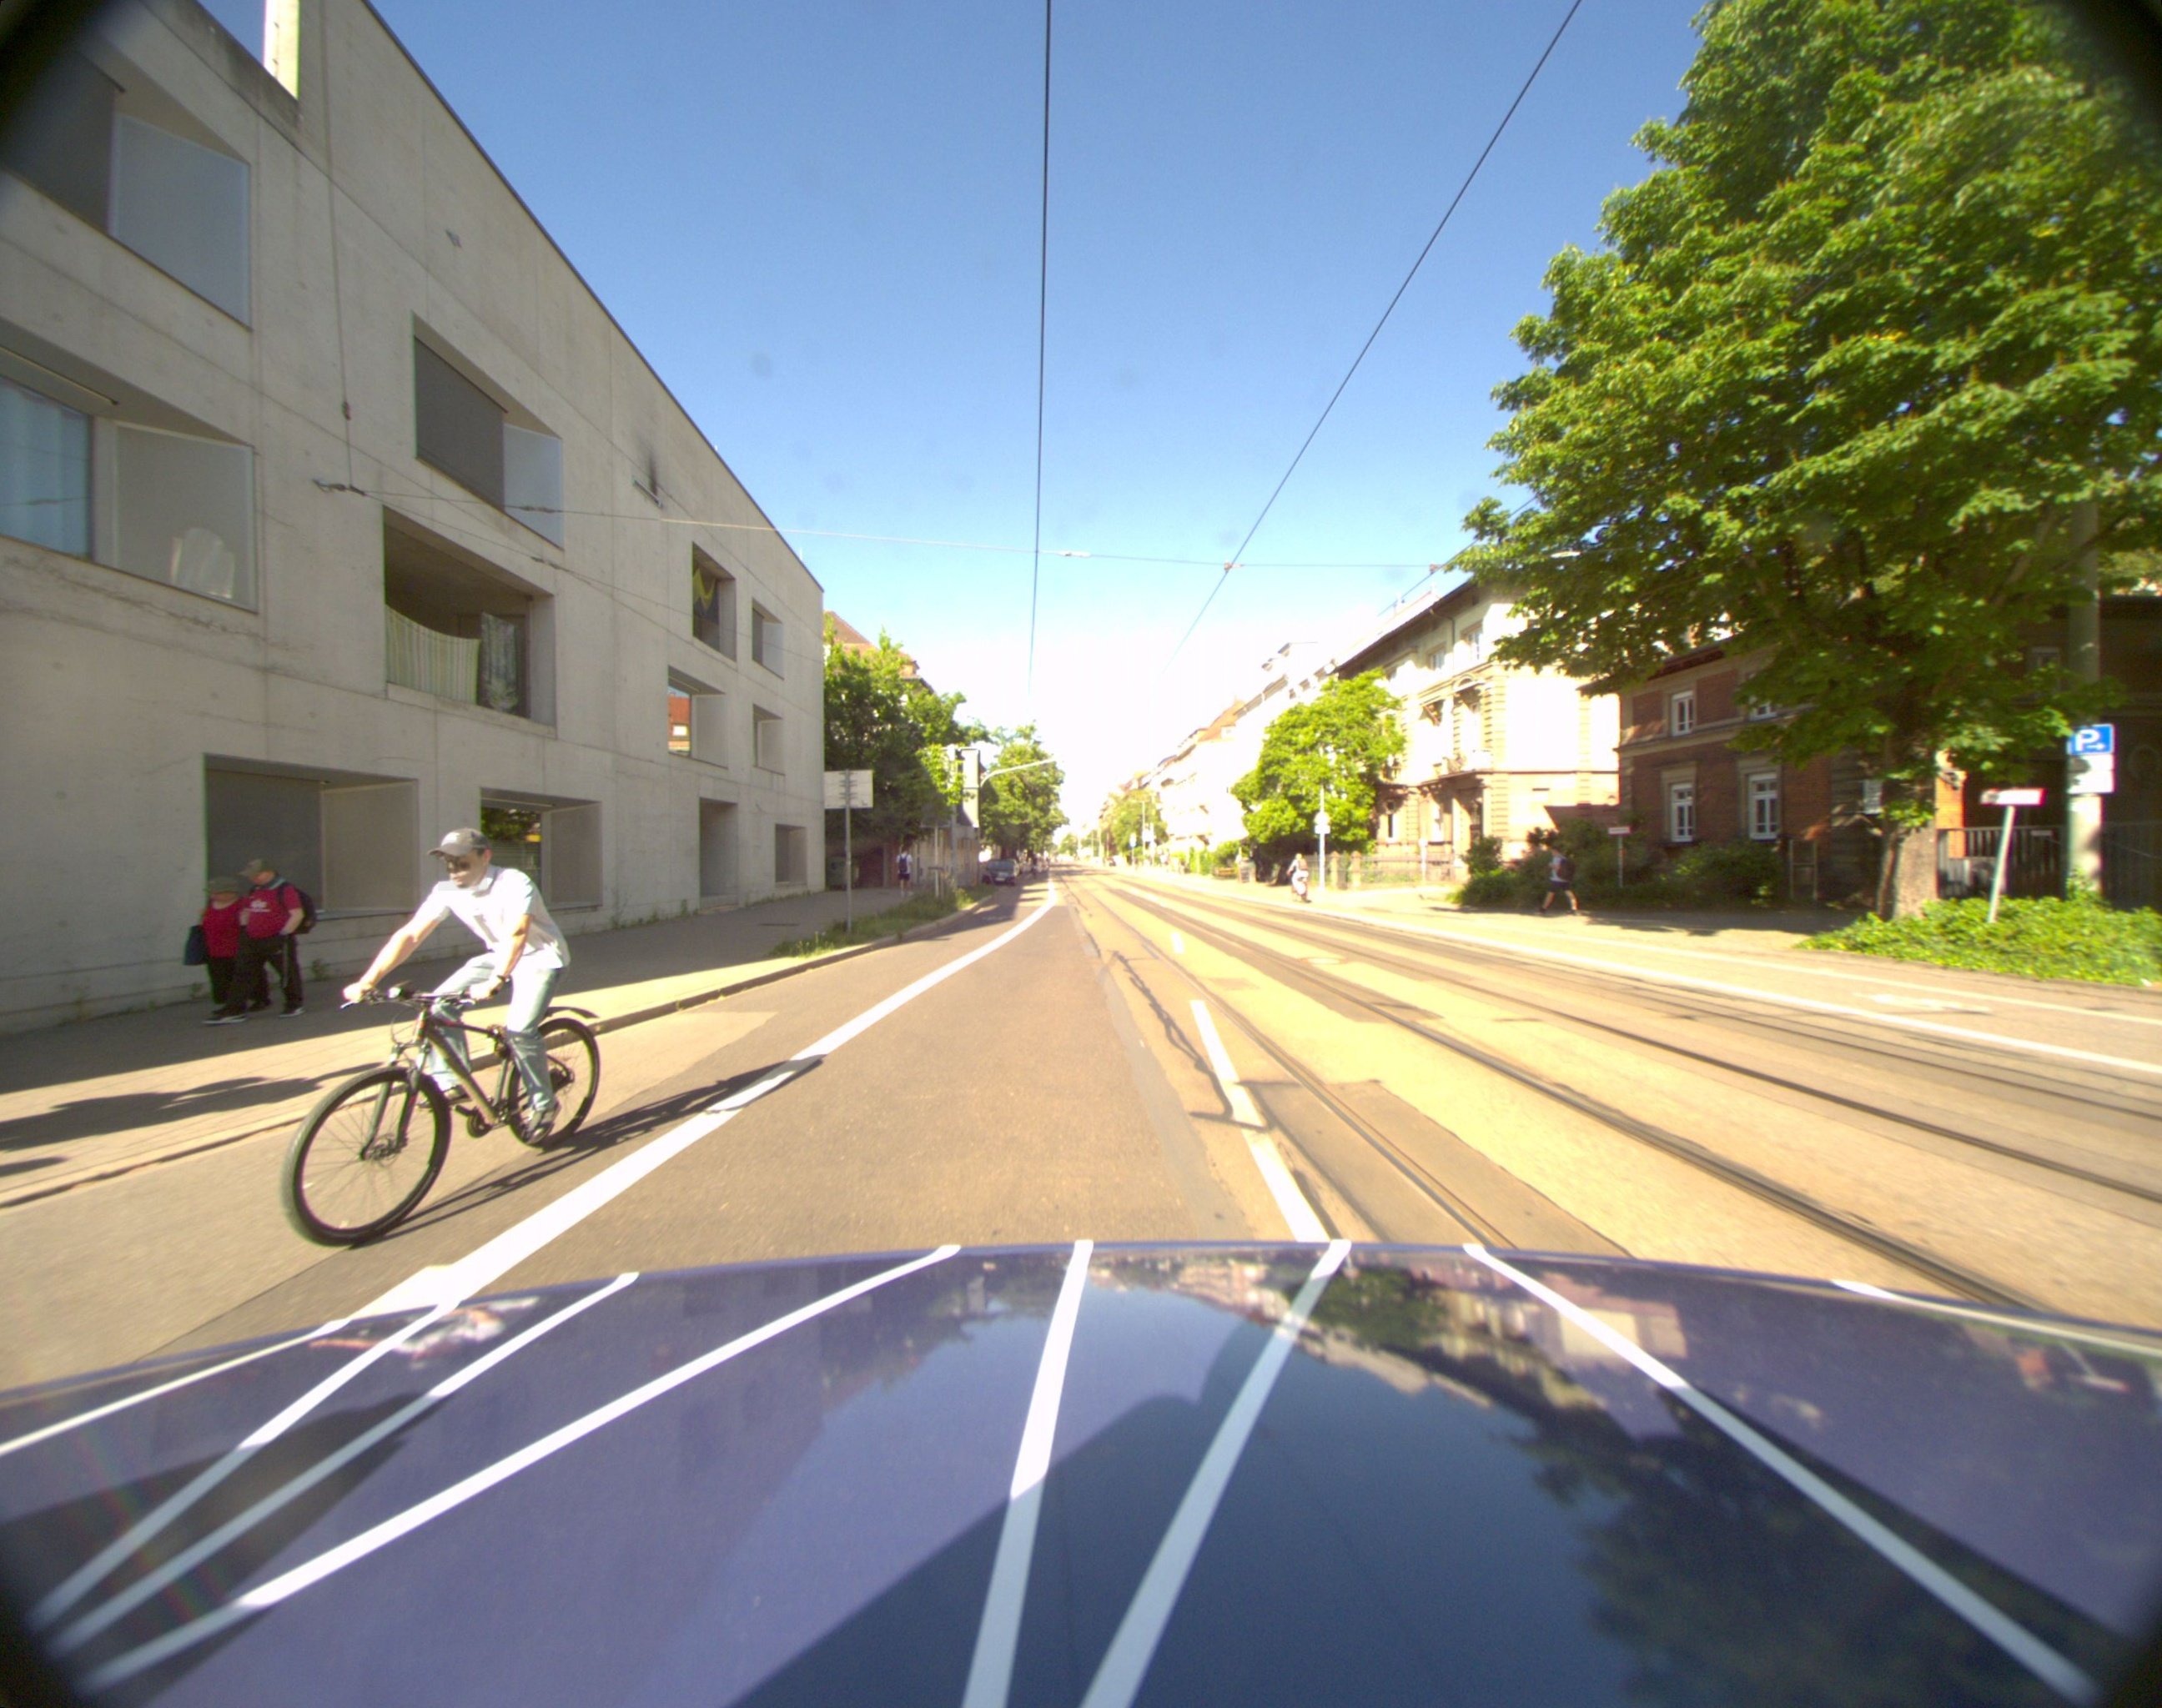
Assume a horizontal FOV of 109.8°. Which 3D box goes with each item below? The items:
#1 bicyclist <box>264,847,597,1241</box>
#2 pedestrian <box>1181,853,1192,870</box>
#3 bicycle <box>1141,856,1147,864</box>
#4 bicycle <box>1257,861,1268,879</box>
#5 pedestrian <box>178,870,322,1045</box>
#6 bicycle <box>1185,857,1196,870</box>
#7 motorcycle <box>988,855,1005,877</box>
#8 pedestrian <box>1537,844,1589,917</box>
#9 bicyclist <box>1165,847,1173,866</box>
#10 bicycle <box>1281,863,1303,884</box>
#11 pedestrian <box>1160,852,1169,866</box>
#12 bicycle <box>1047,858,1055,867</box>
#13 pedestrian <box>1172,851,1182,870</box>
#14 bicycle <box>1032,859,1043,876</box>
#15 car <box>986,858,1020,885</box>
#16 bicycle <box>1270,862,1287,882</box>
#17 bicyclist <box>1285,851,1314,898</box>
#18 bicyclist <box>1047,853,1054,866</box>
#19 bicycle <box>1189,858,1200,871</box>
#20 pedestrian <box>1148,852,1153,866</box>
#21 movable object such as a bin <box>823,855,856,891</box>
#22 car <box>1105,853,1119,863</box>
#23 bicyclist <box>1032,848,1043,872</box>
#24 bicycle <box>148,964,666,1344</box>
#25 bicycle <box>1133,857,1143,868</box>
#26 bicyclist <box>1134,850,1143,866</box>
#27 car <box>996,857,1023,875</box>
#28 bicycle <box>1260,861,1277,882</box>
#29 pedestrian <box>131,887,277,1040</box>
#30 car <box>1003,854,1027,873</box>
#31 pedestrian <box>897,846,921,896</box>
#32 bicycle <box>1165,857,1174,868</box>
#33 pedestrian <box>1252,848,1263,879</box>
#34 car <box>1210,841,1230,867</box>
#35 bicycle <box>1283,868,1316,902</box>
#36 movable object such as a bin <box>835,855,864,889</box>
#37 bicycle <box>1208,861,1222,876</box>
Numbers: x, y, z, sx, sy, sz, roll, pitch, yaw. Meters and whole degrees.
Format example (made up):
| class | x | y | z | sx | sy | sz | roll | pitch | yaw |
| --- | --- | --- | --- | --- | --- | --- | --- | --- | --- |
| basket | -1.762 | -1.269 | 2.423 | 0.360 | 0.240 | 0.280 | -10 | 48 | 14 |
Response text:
| class | x | y | z | sx | sy | sz | roll | pitch | yaw |
| --- | --- | --- | --- | --- | --- | --- | --- | --- | --- |
| bicyclist | -3.104 | 0.817 | 3.755 | 0.740 | 1.676 | 0.971 | -2 | 1 | 0 |
| pedestrian | 9.394 | 0.666 | 67.403 | 0.756 | 1.469 | 0.956 | -2 | 0 | -2 |
| bicycle | 8.258 | 0.839 | 100.112 | 0.515 | 1.032 | 2.222 | -1 | 0 | -2 |
| bicycle | 10.823 | 0.940 | 45.268 | 0.637 | 1.039 | 2.024 | -1 | 0 | 14 |
| pedestrian | -7.981 | 0.956 | 7.333 | 0.519 | 1.591 | 0.764 | 0 | 1 | 1 |
| bicycle | 9.958 | 0.868 | 69.337 | 0.663 | 1.083 | 1.839 | -3 | 1 | -2 |
| motorcycle | -5.859 | 0.810 | 52.934 | 0.916 | 1.480 | 2.679 | 1 | 0 | -1 |
| pedestrian | 12.237 | 0.656 | 19.295 | 0.732 | 1.786 | 0.778 | -4 | 1 | -27 |
| bicyclist | 8.492 | 0.257 | 73.169 | 0.705 | 1.843 | 0.986 | 0 | 2 | 11 |
| bicycle | 10.852 | 0.984 | 39.180 | 0.591 | 1.039 | 1.905 | -2 | 0 | 1 |
| pedestrian | 10.033 | 0.614 | 91.571 | 0.692 | 1.758 | 0.868 | 0 | 1 | 43 |
| bicycle | -3.572 | 0.975 | 89.539 | 0.776 | 1.080 | 2.058 | -1 | 0 | -5 |
| pedestrian | 8.533 | 0.564 | 67.419 | 0.756 | 1.704 | 0.808 | -2 | 1 | -2 |
| bicycle | -3.184 | 0.973 | 55.622 | 0.763 | 1.235 | 2.095 | -2 | 0 | -2 |
| car | -4.528 | 0.970 | 44.379 | 1.827 | 1.450 | 4.815 | 1 | 0 | -6 |
| bicycle | 10.782 | 0.984 | 41.467 | 0.591 | 1.039 | 1.905 | -2 | 0 | 6 |
| bicyclist | 7.931 | 0.724 | 27.610 | 0.688 | 1.635 | 1.237 | 1 | 1 | 2 |
| bicyclist | -3.573 | 0.662 | 89.542 | 0.776 | 1.505 | 1.229 | -1 | 0 | -5 |
| bicycle | 10.048 | 0.902 | 67.372 | 0.663 | 1.083 | 1.839 | -3 | 1 | -2 |
| pedestrian | 8.652 | 0.589 | 94.763 | 0.558 | 1.771 | 0.538 | -1 | 1 | -5 |
| movable object such as a bin | -10.223 | 0.795 | 32.217 | 0.936 | 1.455 | 1.355 | -1 | 0 | -1 |
| car | 4.981 | 0.681 | 121.929 | 1.870 | 1.567 | 4.587 | 1 | 0 | -2 |
| bicyclist | -3.200 | 0.464 | 55.680 | 0.763 | 1.728 | 1.046 | -2 | 0 | -3 |
| bicycle | -3.089 | 1.273 | 3.894 | 0.740 | 1.088 | 2.111 | -2 | 0 | 0 |
| bicycle | 5.939 | 0.854 | 79.171 | 0.747 | 1.075 | 1.898 | 3 | 0 | -1 |
| bicyclist | 5.959 | 0.436 | 79.169 | 0.747 | 1.590 | 1.117 | 3 | 1 | -1 |
| car | -5.701 | 0.951 | 61.100 | 1.728 | 1.374 | 4.355 | 1 | 0 | -1 |
| bicycle | 10.778 | 0.987 | 43.823 | 0.647 | 1.137 | 1.905 | -3 | 0 | 6 |
| pedestrian | -8.568 | 1.039 | 7.459 | 0.519 | 1.396 | 0.764 | 0 | 1 | 1 |
| car | -5.950 | 0.848 | 68.955 | 1.815 | 1.616 | 4.583 | 2 | 0 | -2 |
| pedestrian | -6.441 | 0.642 | 28.511 | 0.686 | 1.839 | 0.955 | 1 | 0 | -3 |
| bicycle | 8.494 | 0.810 | 73.181 | 0.705 | 1.049 | 1.836 | 0 | 1 | 11 |
| pedestrian | 10.488 | 0.569 | 45.246 | 0.576 | 1.821 | 0.690 | 0 | 1 | 17 |
| car | 16.066 | -0.051 | 87.793 | 1.889 | 2.825 | 4.788 | 0 | 2 | 15 |
| bicycle | 7.920 | 1.109 | 27.595 | 0.688 | 1.118 | 1.931 | 1 | 0 | 2 |
| movable object such as a bin | -10.371 | 0.793 | 34.114 | 0.936 | 1.455 | 1.331 | -1 | 0 | -3 |
| bicycle | 9.915 | 1.045 | 56.224 | 0.640 | 1.053 | 1.742 | -3 | 0 | -1 |
